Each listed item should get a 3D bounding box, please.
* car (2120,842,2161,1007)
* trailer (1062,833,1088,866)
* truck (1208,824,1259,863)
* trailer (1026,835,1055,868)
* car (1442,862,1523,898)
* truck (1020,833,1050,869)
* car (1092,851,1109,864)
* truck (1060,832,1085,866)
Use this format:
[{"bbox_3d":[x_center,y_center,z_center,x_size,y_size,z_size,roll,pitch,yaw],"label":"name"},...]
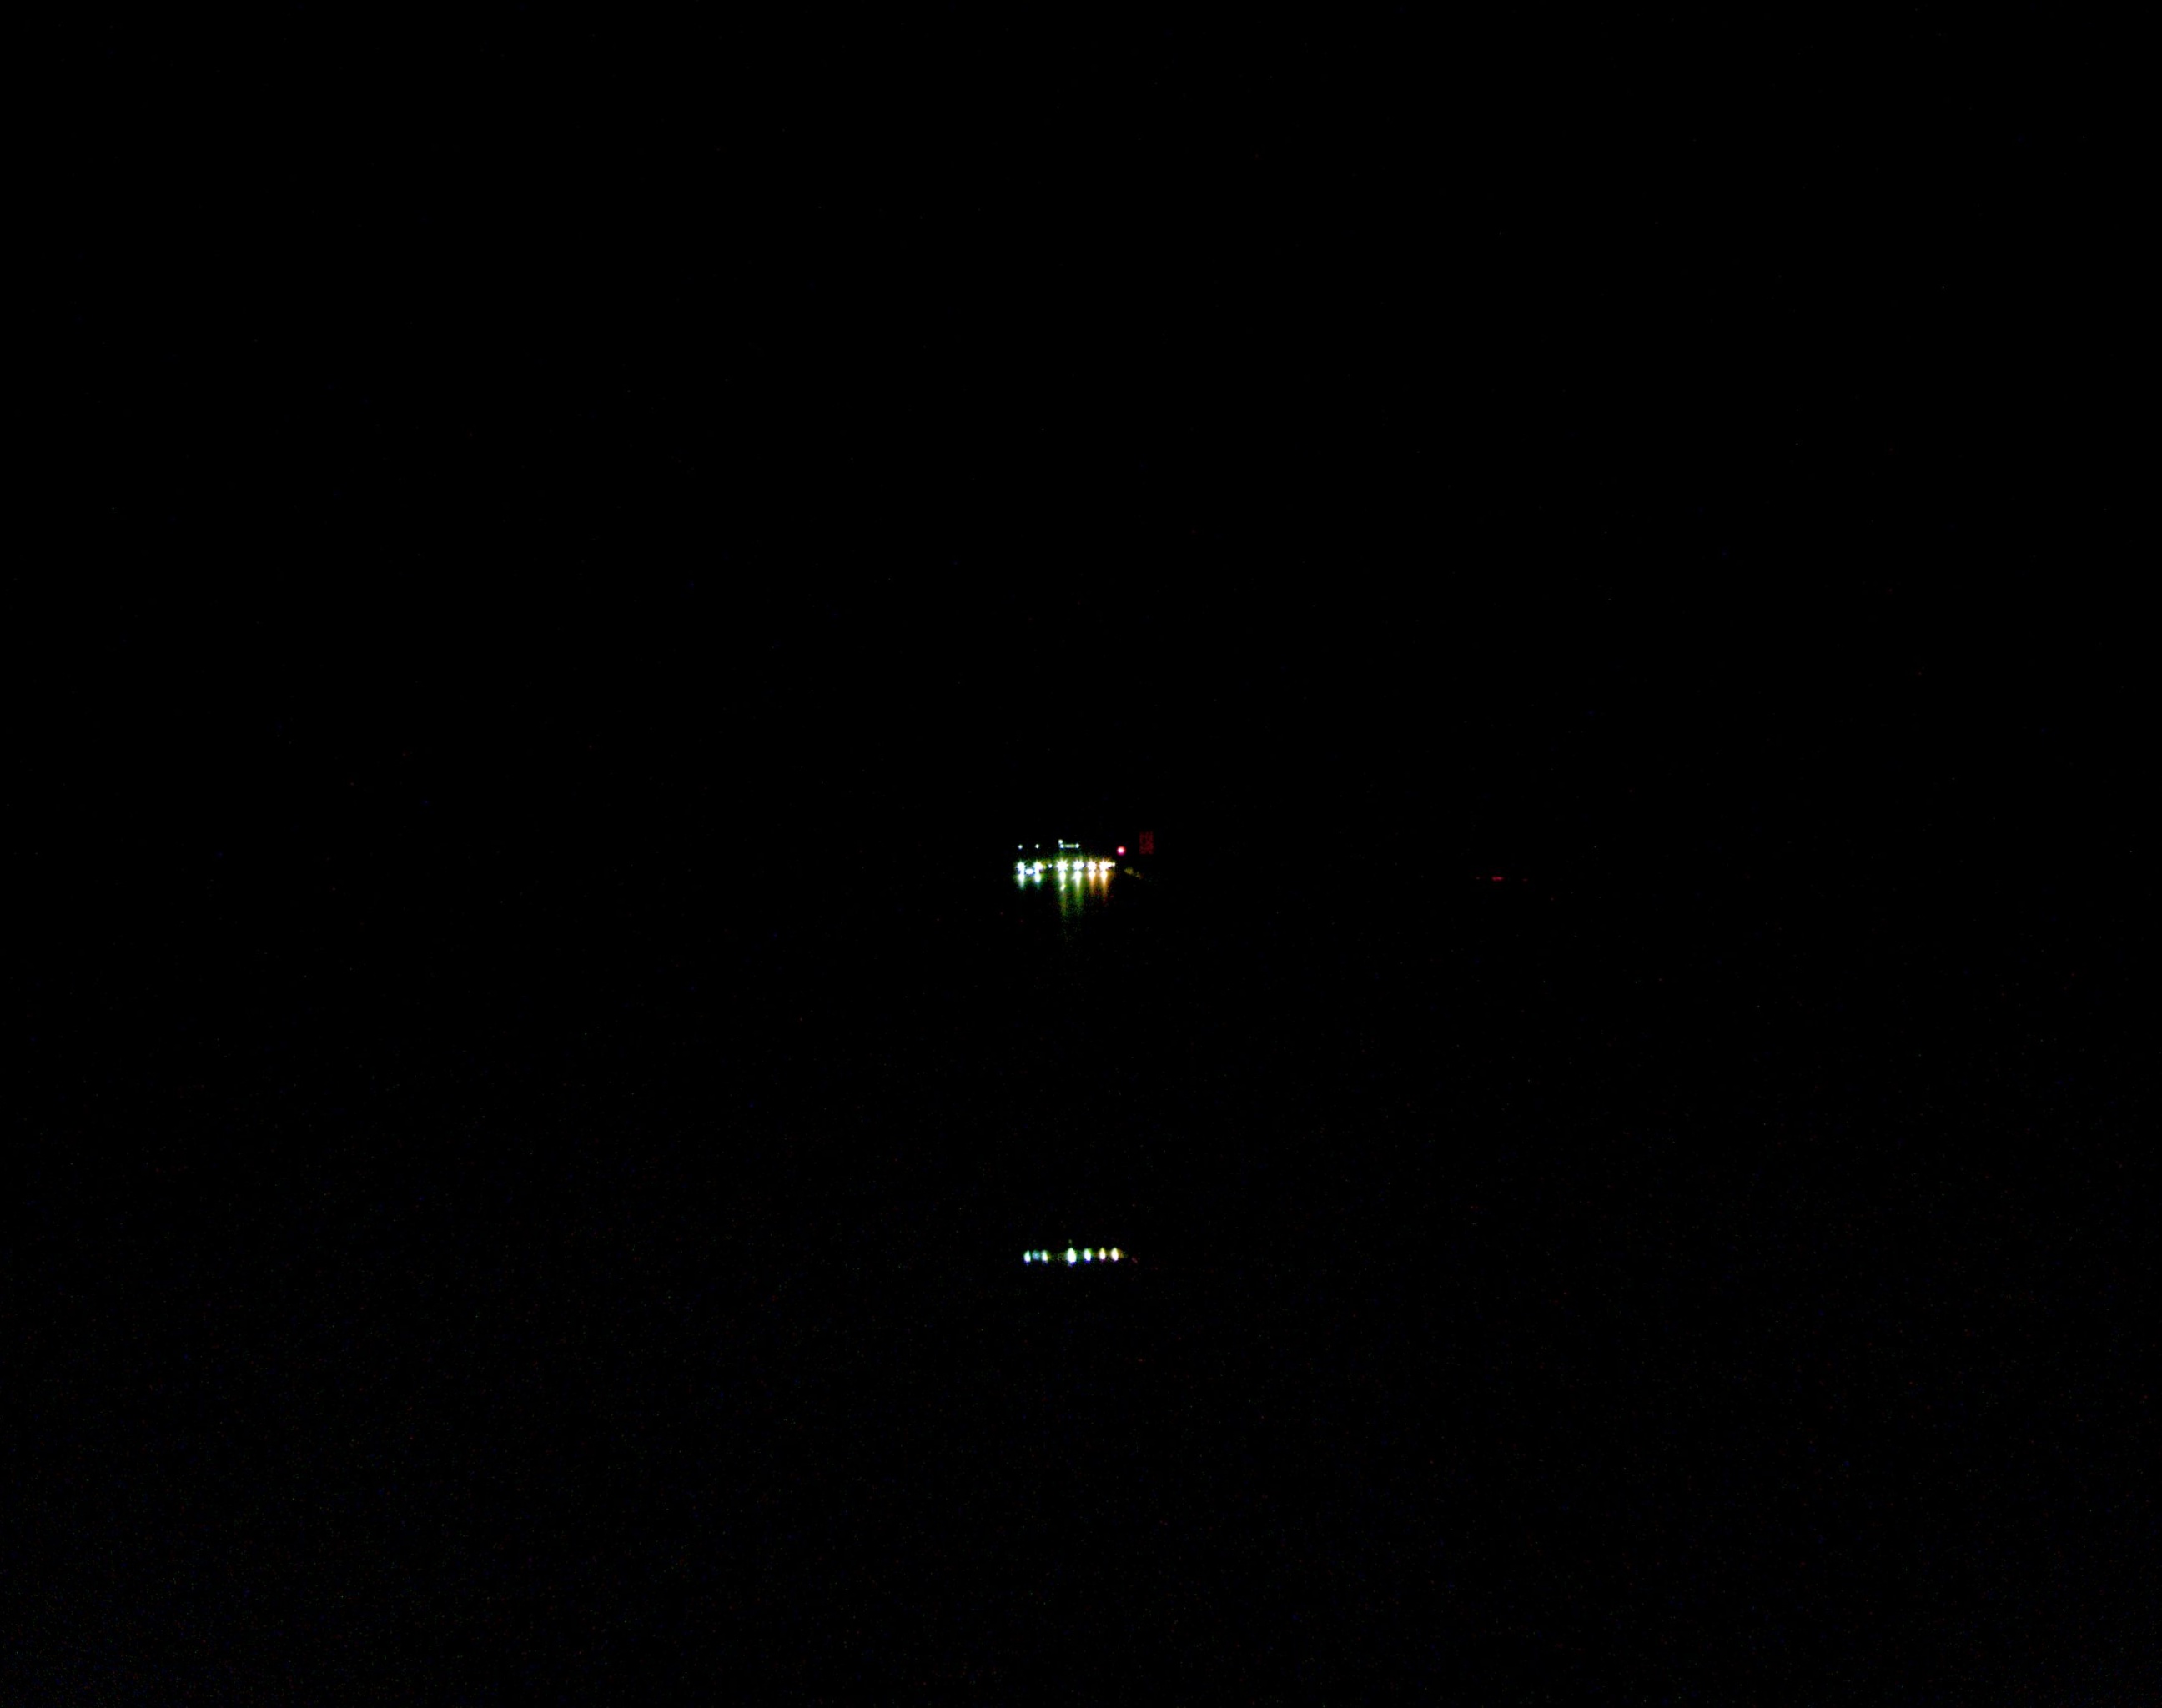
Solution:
[{"bbox_3d":[11.987,0.772,5.532,1.796,1.674,5.168,-2,2,0],"label":"car"},{"bbox_3d":[-0.748,-0.543,105.554,2.749,4.181,13.513,-3,0,3],"label":"trailer"},{"bbox_3d":[17.937,-1.045,90.874,3.121,4.178,16.982,1,0,2],"label":"truck"},{"bbox_3d":[-5.137,-0.284,99.011,2.597,4.048,10.011,-3,0,3],"label":"trailer"},{"bbox_3d":[16.699,1.039,31.768,1.428,1.324,3.629,-3,0,0],"label":"car"},{"bbox_3d":[-5.450,-0.333,91.512,2.597,4.048,7.675,-3,0,3],"label":"truck"},{"bbox_3d":[2.315,0.424,90.031,1.825,1.457,4.249,-3,0,3],"label":"car"},{"bbox_3d":[-1.080,-0.575,98.380,2.668,4.181,6.724,-3,0,3],"label":"truck"}]
